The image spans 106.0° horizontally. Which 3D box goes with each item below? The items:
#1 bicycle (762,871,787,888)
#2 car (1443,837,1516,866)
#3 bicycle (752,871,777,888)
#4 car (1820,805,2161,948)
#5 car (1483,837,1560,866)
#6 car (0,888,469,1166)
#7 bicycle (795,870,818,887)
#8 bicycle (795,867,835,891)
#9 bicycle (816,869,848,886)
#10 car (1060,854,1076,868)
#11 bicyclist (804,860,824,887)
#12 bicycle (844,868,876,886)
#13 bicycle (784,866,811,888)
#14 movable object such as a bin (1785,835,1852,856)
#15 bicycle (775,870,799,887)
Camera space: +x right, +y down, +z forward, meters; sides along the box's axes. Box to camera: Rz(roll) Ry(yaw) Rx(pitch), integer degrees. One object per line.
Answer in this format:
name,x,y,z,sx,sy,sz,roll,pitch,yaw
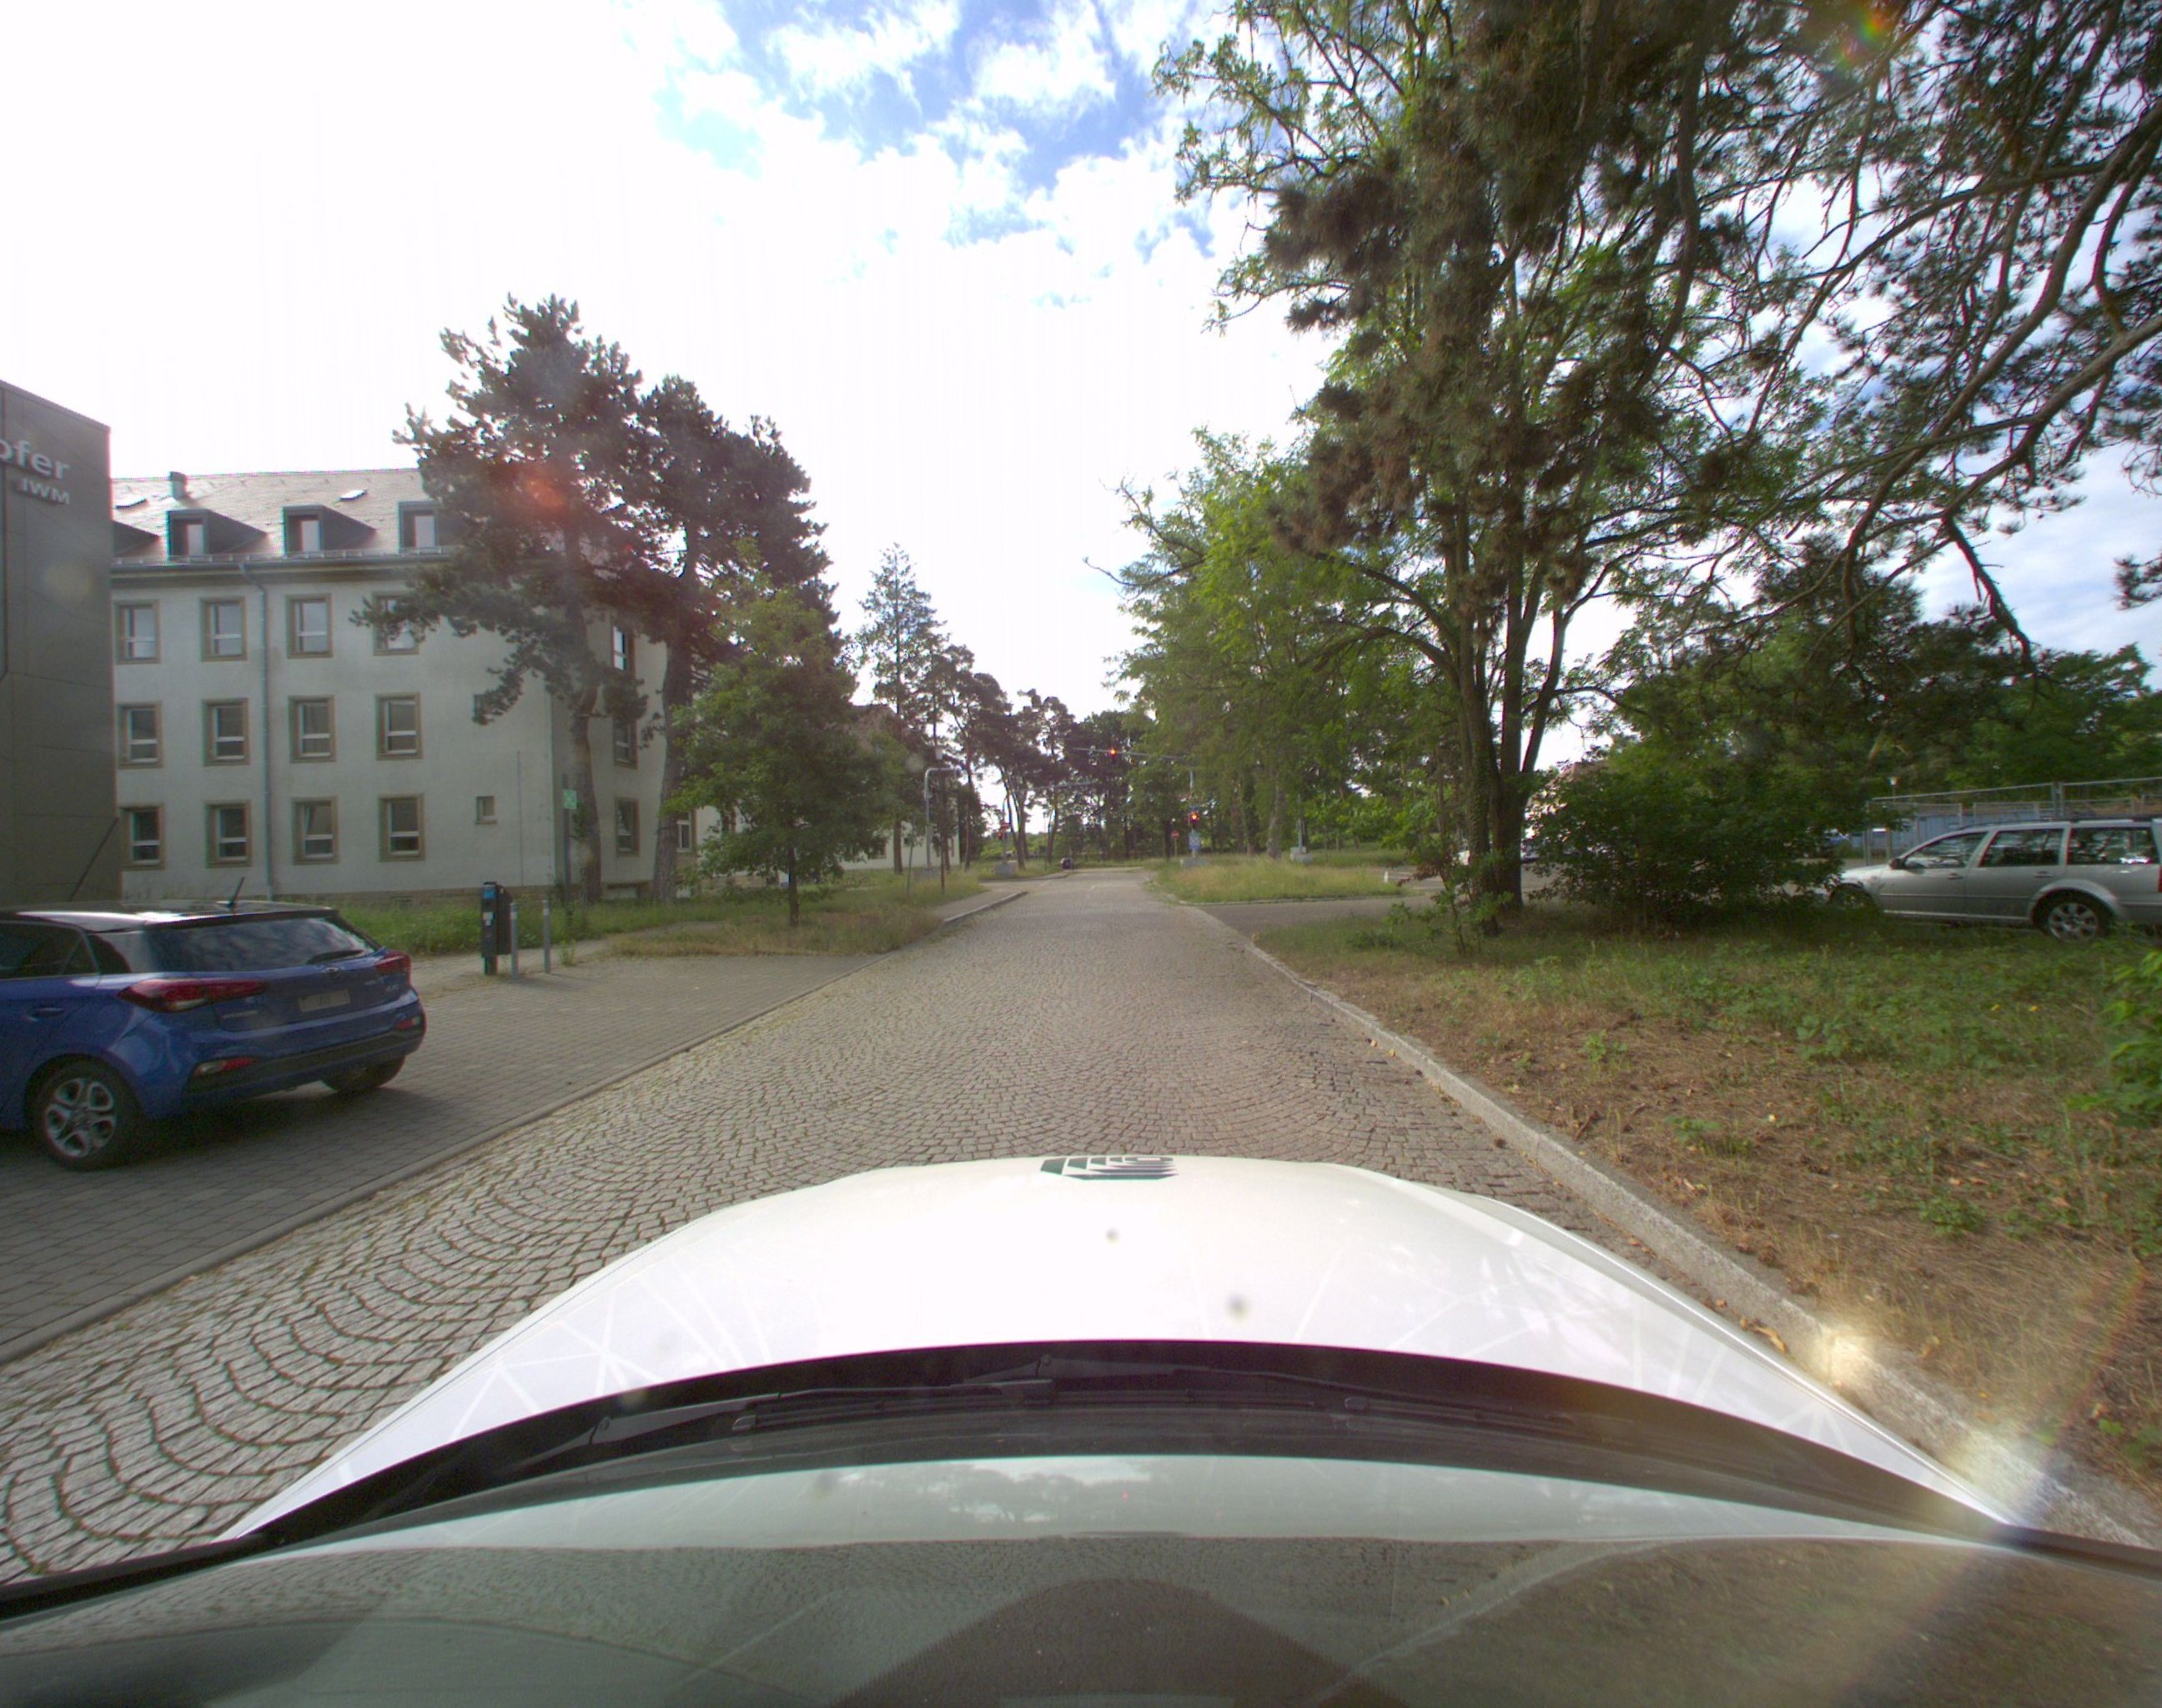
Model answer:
bicycle,-20.933,1.705,55.710,0.733,1.076,2.274,-2,0,2
car,23.086,-0.096,47.371,1.988,1.481,4.422,-2,-2,-2
bicycle,-21.661,1.728,55.799,0.733,1.076,2.274,-2,0,2
car,11.606,0.241,9.875,1.640,1.427,4.073,1,0,1
car,25.601,-0.123,47.492,1.988,1.481,4.422,-2,-2,-2
car,-6.771,1.030,5.615,3.748,1.478,1.854,-1,0,4
bicycle,-18.747,1.671,55.687,0.733,1.076,2.274,-2,0,2
bicycle,-16.747,1.548,51.303,2.173,1.387,0.938,-2,0,-2
bicycle,-16.665,1.577,54.467,1.848,1.076,0.739,-2,0,3
car,-1.785,0.966,111.530,2.048,1.846,4.001,-2,0,1
bicyclist,-16.809,1.215,51.313,0.918,1.697,0.956,-2,-1,-1
bicycle,-14.782,1.521,54.461,1.848,1.076,0.832,-2,0,3
bicycle,-19.481,1.550,56.061,0.733,1.385,2.713,-2,0,2
movable object such as a bin,31.478,-0.337,34.810,1.179,0.825,1.957,-2,0,6
bicycle,-20.272,1.710,56.188,0.733,1.076,2.274,-2,0,2
